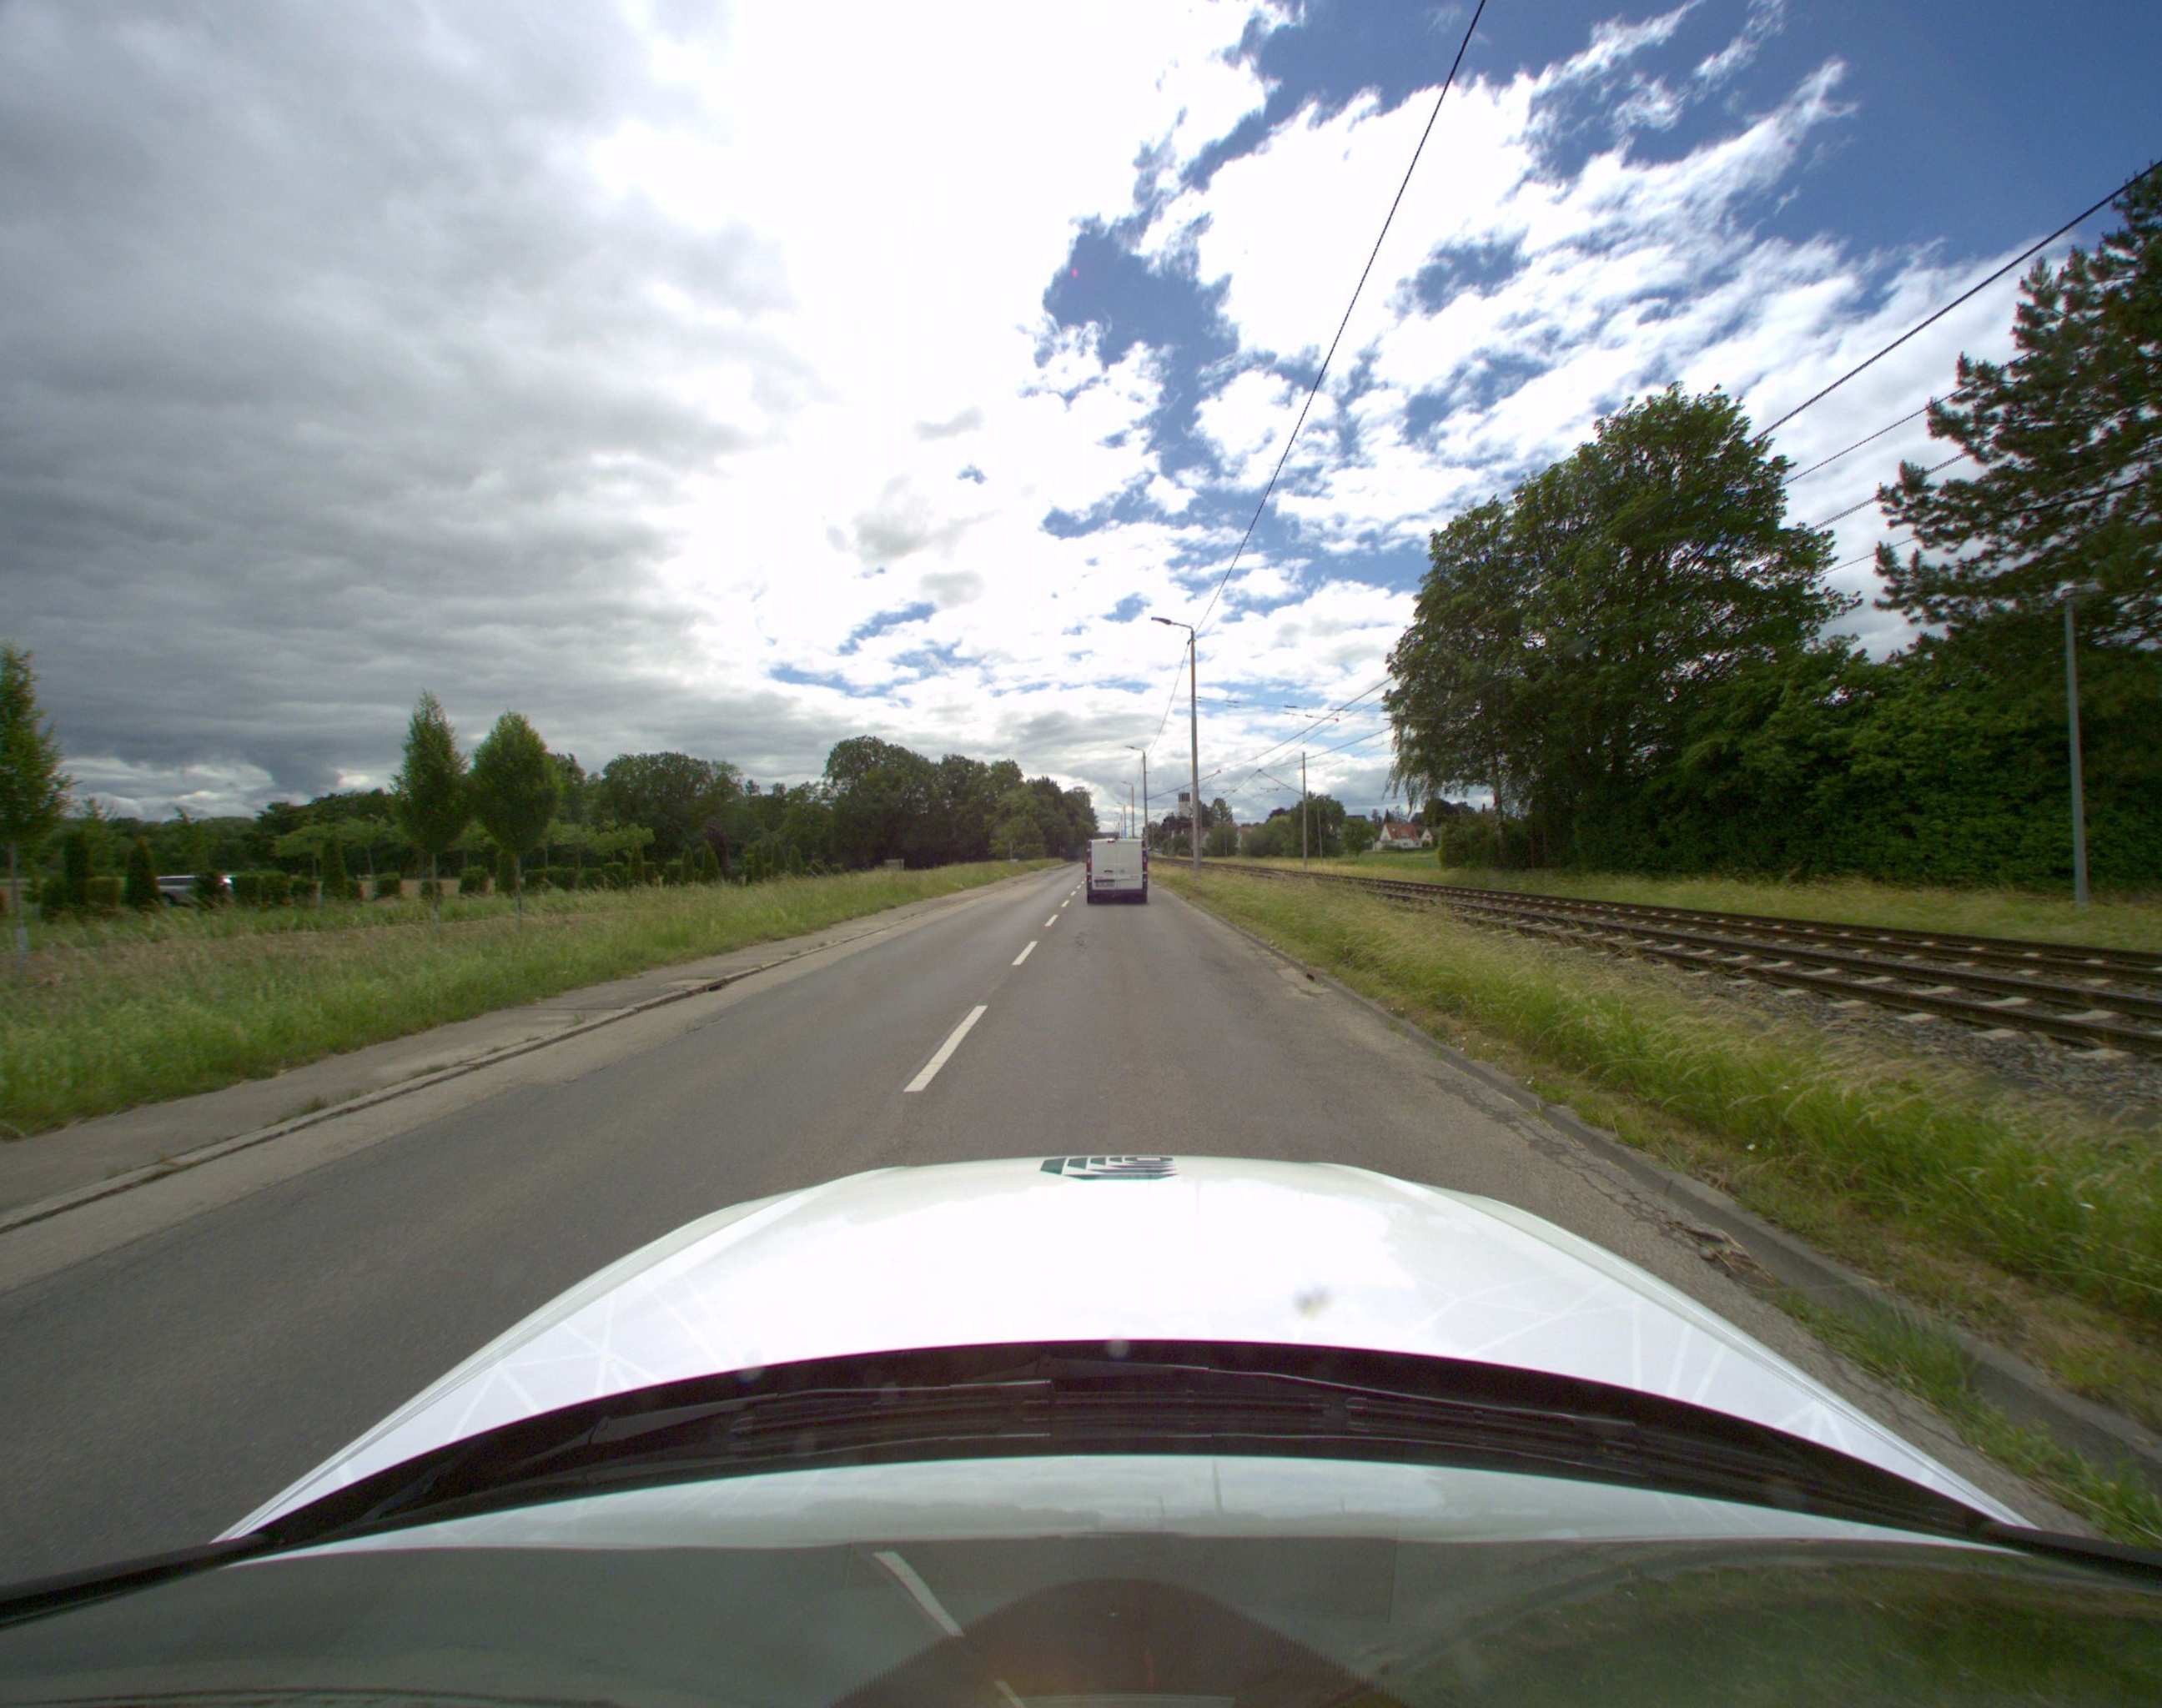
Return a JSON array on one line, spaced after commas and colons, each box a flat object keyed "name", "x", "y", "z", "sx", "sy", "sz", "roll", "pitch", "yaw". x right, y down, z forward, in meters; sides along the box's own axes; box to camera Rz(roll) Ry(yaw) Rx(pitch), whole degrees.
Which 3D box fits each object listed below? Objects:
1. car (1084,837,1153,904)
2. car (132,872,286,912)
[{"name": "car", "x": 1.132, "y": 0.491, "z": 25.795, "sx": 1.987, "sy": 1.957, "sz": 4.000, "roll": -1, "pitch": 0, "yaw": 1}, {"name": "car", "x": -37.276, "y": 1.592, "z": 34.954, "sx": 3.999, "sy": 1.453, "sz": 1.962, "roll": -2, "pitch": 0, "yaw": -19}]
